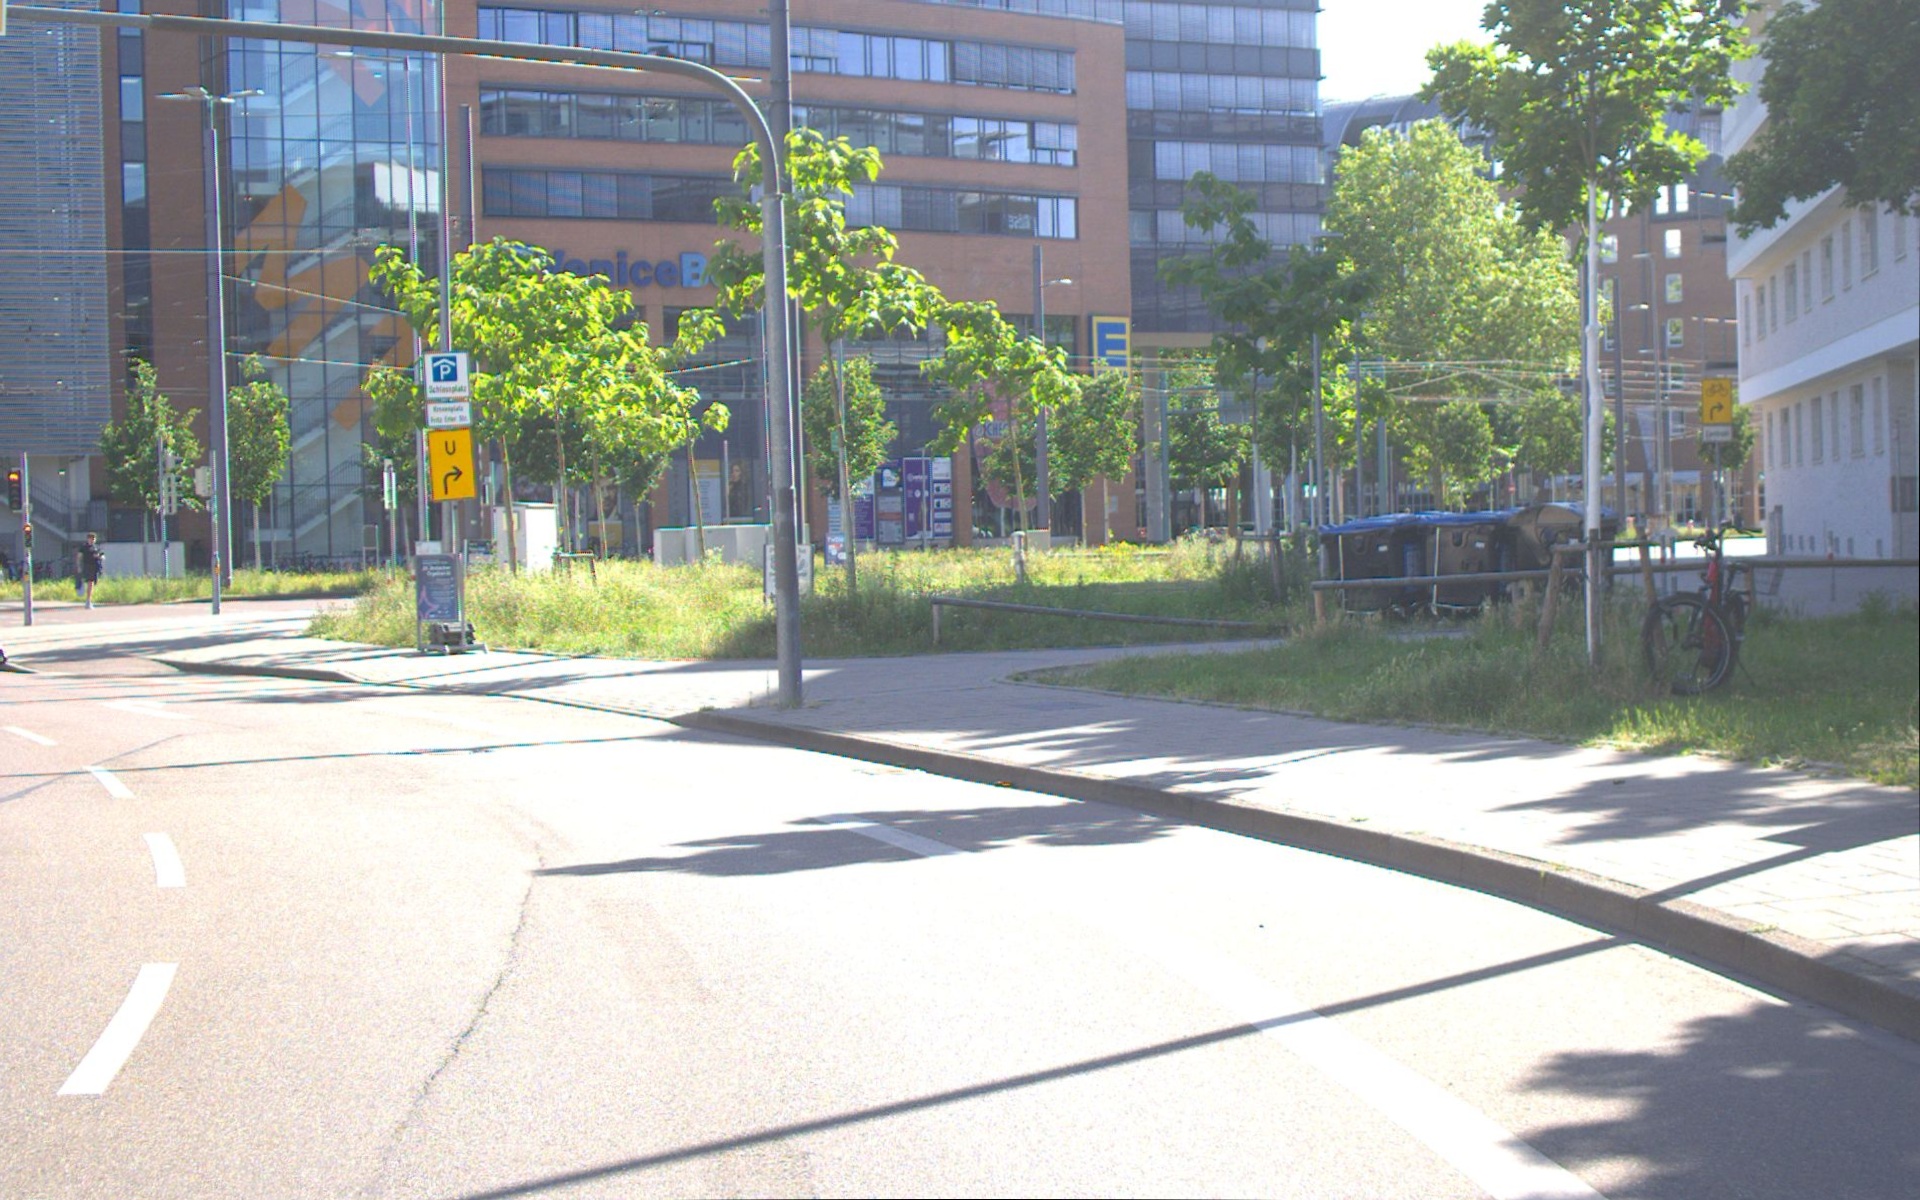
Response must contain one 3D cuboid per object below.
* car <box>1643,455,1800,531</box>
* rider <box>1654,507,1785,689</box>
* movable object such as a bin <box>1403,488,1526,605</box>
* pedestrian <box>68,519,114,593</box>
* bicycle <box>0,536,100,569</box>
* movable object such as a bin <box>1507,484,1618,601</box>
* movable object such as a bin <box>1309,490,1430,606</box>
[{"bbox_3d":[21.436,-3.006,96.748,3.992,2.007,1.998,-1,1,23],"label":"car"},{"bbox_3d":[5.253,-0.031,23.721,0.502,1.172,1.674,-1,2,25],"label":"rider"},{"bbox_3d":[6.271,-0.673,42.698,1.109,1.393,1.319,-1,2,28],"label":"movable object such as a bin"},{"bbox_3d":[-20.154,-1.021,79.722,0.806,1.703,0.762,-2,1,-31],"label":"pedestrian"},{"bbox_3d":[-31.352,-1.627,118.138,3.360,1.073,1.117,-1,2,-24],"label":"bicycle"},{"bbox_3d":[7.419,-0.716,42.333,1.030,1.393,1.089,-1,2,28],"label":"movable object such as a bin"},{"bbox_3d":[5.100,-0.651,42.767,1.070,1.393,1.302,-1,2,28],"label":"movable object such as a bin"}]
